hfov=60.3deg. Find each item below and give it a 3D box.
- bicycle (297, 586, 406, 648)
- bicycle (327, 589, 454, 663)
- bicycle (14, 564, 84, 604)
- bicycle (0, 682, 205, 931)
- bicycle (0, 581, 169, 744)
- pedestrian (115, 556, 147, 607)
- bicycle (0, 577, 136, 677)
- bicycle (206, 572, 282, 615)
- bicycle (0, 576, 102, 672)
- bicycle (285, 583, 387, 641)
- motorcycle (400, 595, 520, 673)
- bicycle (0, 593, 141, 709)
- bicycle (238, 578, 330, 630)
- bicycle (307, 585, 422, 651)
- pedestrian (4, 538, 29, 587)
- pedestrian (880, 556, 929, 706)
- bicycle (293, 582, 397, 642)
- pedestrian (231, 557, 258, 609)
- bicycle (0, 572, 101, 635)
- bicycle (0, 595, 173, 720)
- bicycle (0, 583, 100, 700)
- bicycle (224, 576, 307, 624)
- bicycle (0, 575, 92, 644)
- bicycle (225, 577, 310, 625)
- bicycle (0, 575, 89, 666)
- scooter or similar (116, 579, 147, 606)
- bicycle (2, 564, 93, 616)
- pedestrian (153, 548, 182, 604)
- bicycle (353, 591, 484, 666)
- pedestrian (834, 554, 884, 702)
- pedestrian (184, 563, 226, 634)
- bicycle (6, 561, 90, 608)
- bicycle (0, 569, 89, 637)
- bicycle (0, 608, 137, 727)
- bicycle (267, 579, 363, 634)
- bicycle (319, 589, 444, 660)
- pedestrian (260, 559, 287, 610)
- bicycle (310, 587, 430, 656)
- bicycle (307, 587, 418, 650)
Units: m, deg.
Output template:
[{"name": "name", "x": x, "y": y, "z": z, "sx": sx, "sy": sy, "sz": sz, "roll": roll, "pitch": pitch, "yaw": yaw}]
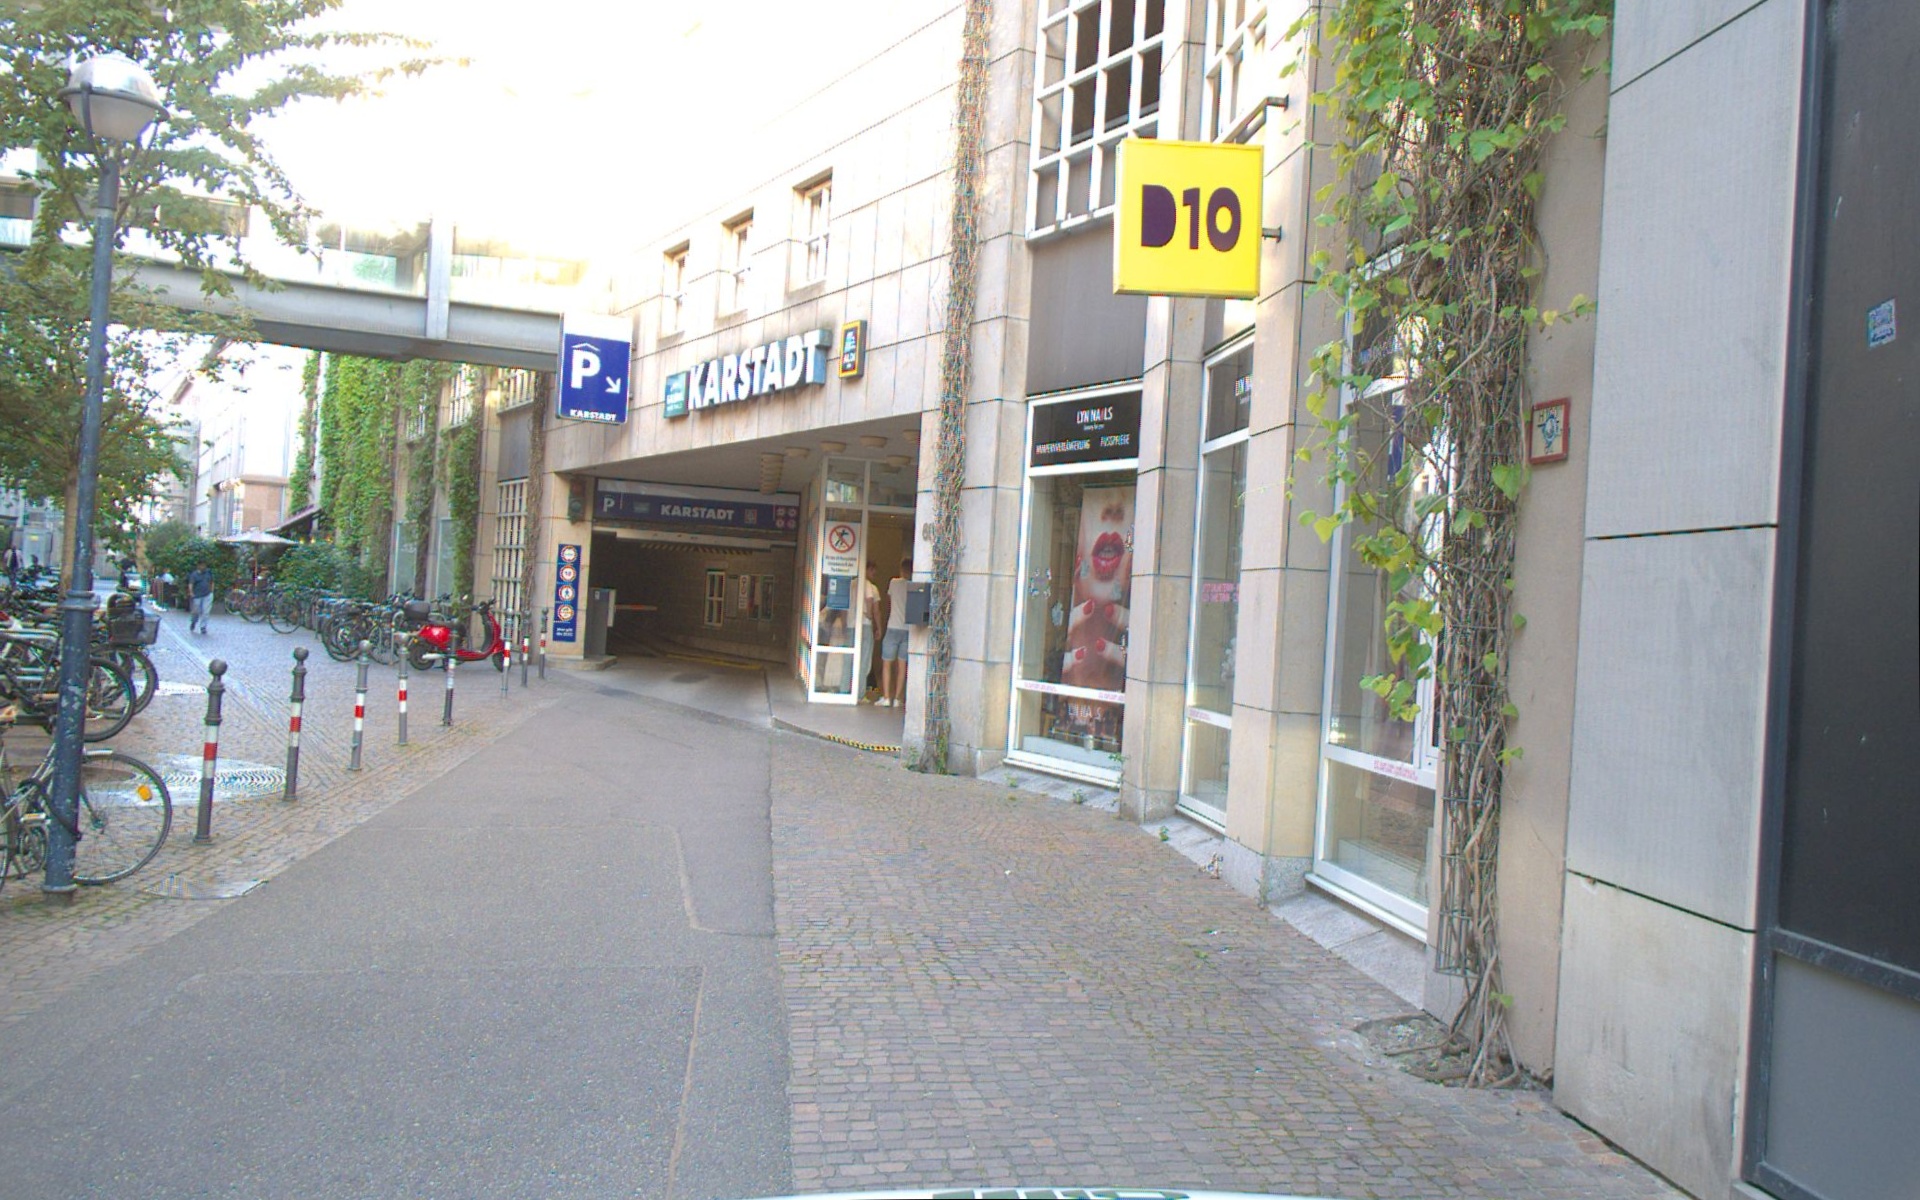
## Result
[{"name": "bicycle", "x": -12.222, "y": 0.341, "z": 33.220, "sx": 1.970, "sy": 1.203, "sz": 0.688, "roll": 1, "pitch": 0, "yaw": -27}, {"name": "bicycle", "x": -9.702, "y": 0.444, "z": 28.182, "sx": 1.970, "sy": 1.203, "sz": 0.690, "roll": 1, "pitch": 0, "yaw": -27}, {"name": "bicycle", "x": -29.925, "y": -0.532, "z": 54.356, "sx": 1.888, "sy": 1.203, "sz": 0.691, "roll": 3, "pitch": 0, "yaw": -25}, {"name": "bicycle", "x": -4.256, "y": 0.919, "z": 7.684, "sx": 0.494, "sy": 0.983, "sz": 1.696, "roll": 2, "pitch": 0, "yaw": 8}, {"name": "bicycle", "x": -7.606, "y": 0.502, "z": 13.624, "sx": 1.891, "sy": 1.283, "sz": 0.801, "roll": 3, "pitch": 0, "yaw": -28}, {"name": "pedestrian", "x": -27.898, "y": -0.610, "z": 55.633, "sx": 0.881, "sy": 1.668, "sz": 0.903, "roll": 3, "pitch": 0, "yaw": -29}, {"name": "bicycle", "x": -11.690, "y": 0.345, "z": 21.245, "sx": 1.888, "sy": 1.203, "sz": 0.691, "roll": 3, "pitch": 0, "yaw": -25}, {"name": "bicycle", "x": -20.690, "y": -0.192, "z": 47.822, "sx": 1.970, "sy": 1.203, "sz": 0.688, "roll": 1, "pitch": 0, "yaw": -27}, {"name": "bicycle", "x": -12.475, "y": 0.302, "z": 21.883, "sx": 1.888, "sy": 1.203, "sz": 0.691, "roll": 3, "pitch": 0, "yaw": -25}, {"name": "bicycle", "x": -13.349, "y": 0.256, "z": 35.395, "sx": 1.970, "sy": 1.203, "sz": 0.688, "roll": 1, "pitch": 0, "yaw": -27}, {"name": "motorcycle", "x": -7.826, "y": 0.540, "z": 25.883, "sx": 1.723, "sy": 1.175, "sz": 0.590, "roll": 1, "pitch": 0, "yaw": -25}, {"name": "bicycle", "x": -9.474, "y": 0.510, "z": 16.917, "sx": 1.888, "sy": 1.121, "sz": 0.691, "roll": 3, "pitch": 0, "yaw": -25}, {"name": "bicycle", "x": -16.033, "y": 0.097, "z": 39.238, "sx": 1.970, "sy": 1.203, "sz": 0.688, "roll": 1, "pitch": 0, "yaw": -27}, {"name": "bicycle", "x": -11.324, "y": 0.343, "z": 31.457, "sx": 1.970, "sy": 1.203, "sz": 0.796, "roll": 1, "pitch": 1, "yaw": -27}, {"name": "pedestrian", "x": -36.780, "y": -1.459, "z": 64.467, "sx": 0.766, "sy": 1.836, "sz": 0.628, "roll": 3, "pitch": 0, "yaw": -28}, {"name": "pedestrian", "x": -0.712, "y": 0.393, "z": 21.330, "sx": 0.531, "sy": 1.894, "sz": 0.408, "roll": 3, "pitch": 0, "yaw": -1}, {"name": "bicycle", "x": -12.783, "y": 0.260, "z": 34.390, "sx": 1.970, "sy": 1.203, "sz": 0.688, "roll": 1, "pitch": 0, "yaw": -27}, {"name": "pedestrian", "x": -26.001, "y": -0.626, "z": 60.123, "sx": 0.766, "sy": 1.836, "sz": 0.760, "roll": 3, "pitch": 0, "yaw": -28}, {"name": "bicycle", "x": -18.871, "y": 0.070, "z": 34.194, "sx": 1.888, "sy": 1.203, "sz": 0.691, "roll": 3, "pitch": 0, "yaw": -25}, {"name": "bicycle", "x": -8.615, "y": 0.543, "z": 15.838, "sx": 1.891, "sy": 1.121, "sz": 0.690, "roll": 3, "pitch": 0, "yaw": -28}, {"name": "bicycle", "x": -10.330, "y": 0.424, "z": 17.708, "sx": 1.888, "sy": 1.203, "sz": 0.691, "roll": 3, "pitch": 0, "yaw": -25}, {"name": "bicycle", "x": -18.304, "y": 0.004, "z": 43.624, "sx": 1.970, "sy": 1.203, "sz": 0.688, "roll": 1, "pitch": 0, "yaw": -27}, {"name": "bicycle", "x": -17.255, "y": 0.171, "z": 30.741, "sx": 1.888, "sy": 1.203, "sz": 0.691, "roll": 3, "pitch": 0, "yaw": -25}, {"name": "bicycle", "x": -17.938, "y": 0.036, "z": 42.857, "sx": 1.970, "sy": 1.203, "sz": 0.688, "roll": 1, "pitch": 0, "yaw": -27}, {"name": "bicycle", "x": -13.154, "y": 0.261, "z": 22.841, "sx": 1.888, "sy": 1.203, "sz": 0.691, "roll": 3, "pitch": 0, "yaw": -25}, {"name": "scooter or similar", "x": -27.461, "y": -0.246, "z": 54.830, "sx": 0.881, "sy": 0.858, "sz": 0.903, "roll": 3, "pitch": 0, "yaw": -29}, {"name": "bicycle", "x": -22.923, "y": -0.250, "z": 41.569, "sx": 1.888, "sy": 1.203, "sz": 0.691, "roll": 3, "pitch": 0, "yaw": -25}, {"name": "pedestrian", "x": -26.558, "y": -0.811, "z": 55.431, "sx": 0.756, "sy": 1.836, "sz": 0.770, "roll": 3, "pitch": 0, "yaw": -29}, {"name": "bicycle", "x": -8.971, "y": 0.473, "z": 27.415, "sx": 1.970, "sy": 1.203, "sz": 0.690, "roll": 1, "pitch": 0, "yaw": -27}, {"name": "pedestrian", "x": -1.312, "y": 0.356, "z": 21.487, "sx": 0.531, "sy": 1.878, "sz": 0.408, "roll": 3, "pitch": 0, "yaw": -1}, {"name": "pedestrian", "x": -16.879, "y": -0.033, "z": 36.966, "sx": 0.740, "sy": 1.536, "sz": 0.632, "roll": 3, "pitch": 0, "yaw": -29}, {"name": "bicycle", "x": -24.983, "y": -0.421, "z": 45.333, "sx": 1.888, "sy": 1.203, "sz": 0.691, "roll": 3, "pitch": 0, "yaw": -25}, {"name": "bicycle", "x": -17.702, "y": 0.048, "z": 31.494, "sx": 1.888, "sy": 1.203, "sz": 0.691, "roll": 3, "pitch": 0, "yaw": -25}, {"name": "bicycle", "x": -8.506, "y": 0.595, "z": 14.926, "sx": 1.891, "sy": 1.011, "sz": 0.690, "roll": 3, "pitch": 0, "yaw": -28}, {"name": "bicycle", "x": -14.665, "y": 0.149, "z": 37.594, "sx": 1.970, "sy": 1.203, "sz": 0.688, "roll": 1, "pitch": 0, "yaw": -27}, {"name": "bicycle", "x": -10.141, "y": 0.432, "z": 29.010, "sx": 1.970, "sy": 1.203, "sz": 0.796, "roll": 1, "pitch": 1, "yaw": -27}, {"name": "pedestrian", "x": -25.020, "y": -0.571, "z": 60.295, "sx": 0.766, "sy": 1.836, "sz": 0.760, "roll": 3, "pitch": 0, "yaw": -28}, {"name": "bicycle", "x": -10.720, "y": 0.398, "z": 30.074, "sx": 1.970, "sy": 1.203, "sz": 0.796, "roll": 1, "pitch": 1, "yaw": -27}, {"name": "bicycle", "x": -11.699, "y": 0.366, "z": 32.402, "sx": 1.970, "sy": 1.203, "sz": 0.688, "roll": 1, "pitch": 0, "yaw": -27}]
